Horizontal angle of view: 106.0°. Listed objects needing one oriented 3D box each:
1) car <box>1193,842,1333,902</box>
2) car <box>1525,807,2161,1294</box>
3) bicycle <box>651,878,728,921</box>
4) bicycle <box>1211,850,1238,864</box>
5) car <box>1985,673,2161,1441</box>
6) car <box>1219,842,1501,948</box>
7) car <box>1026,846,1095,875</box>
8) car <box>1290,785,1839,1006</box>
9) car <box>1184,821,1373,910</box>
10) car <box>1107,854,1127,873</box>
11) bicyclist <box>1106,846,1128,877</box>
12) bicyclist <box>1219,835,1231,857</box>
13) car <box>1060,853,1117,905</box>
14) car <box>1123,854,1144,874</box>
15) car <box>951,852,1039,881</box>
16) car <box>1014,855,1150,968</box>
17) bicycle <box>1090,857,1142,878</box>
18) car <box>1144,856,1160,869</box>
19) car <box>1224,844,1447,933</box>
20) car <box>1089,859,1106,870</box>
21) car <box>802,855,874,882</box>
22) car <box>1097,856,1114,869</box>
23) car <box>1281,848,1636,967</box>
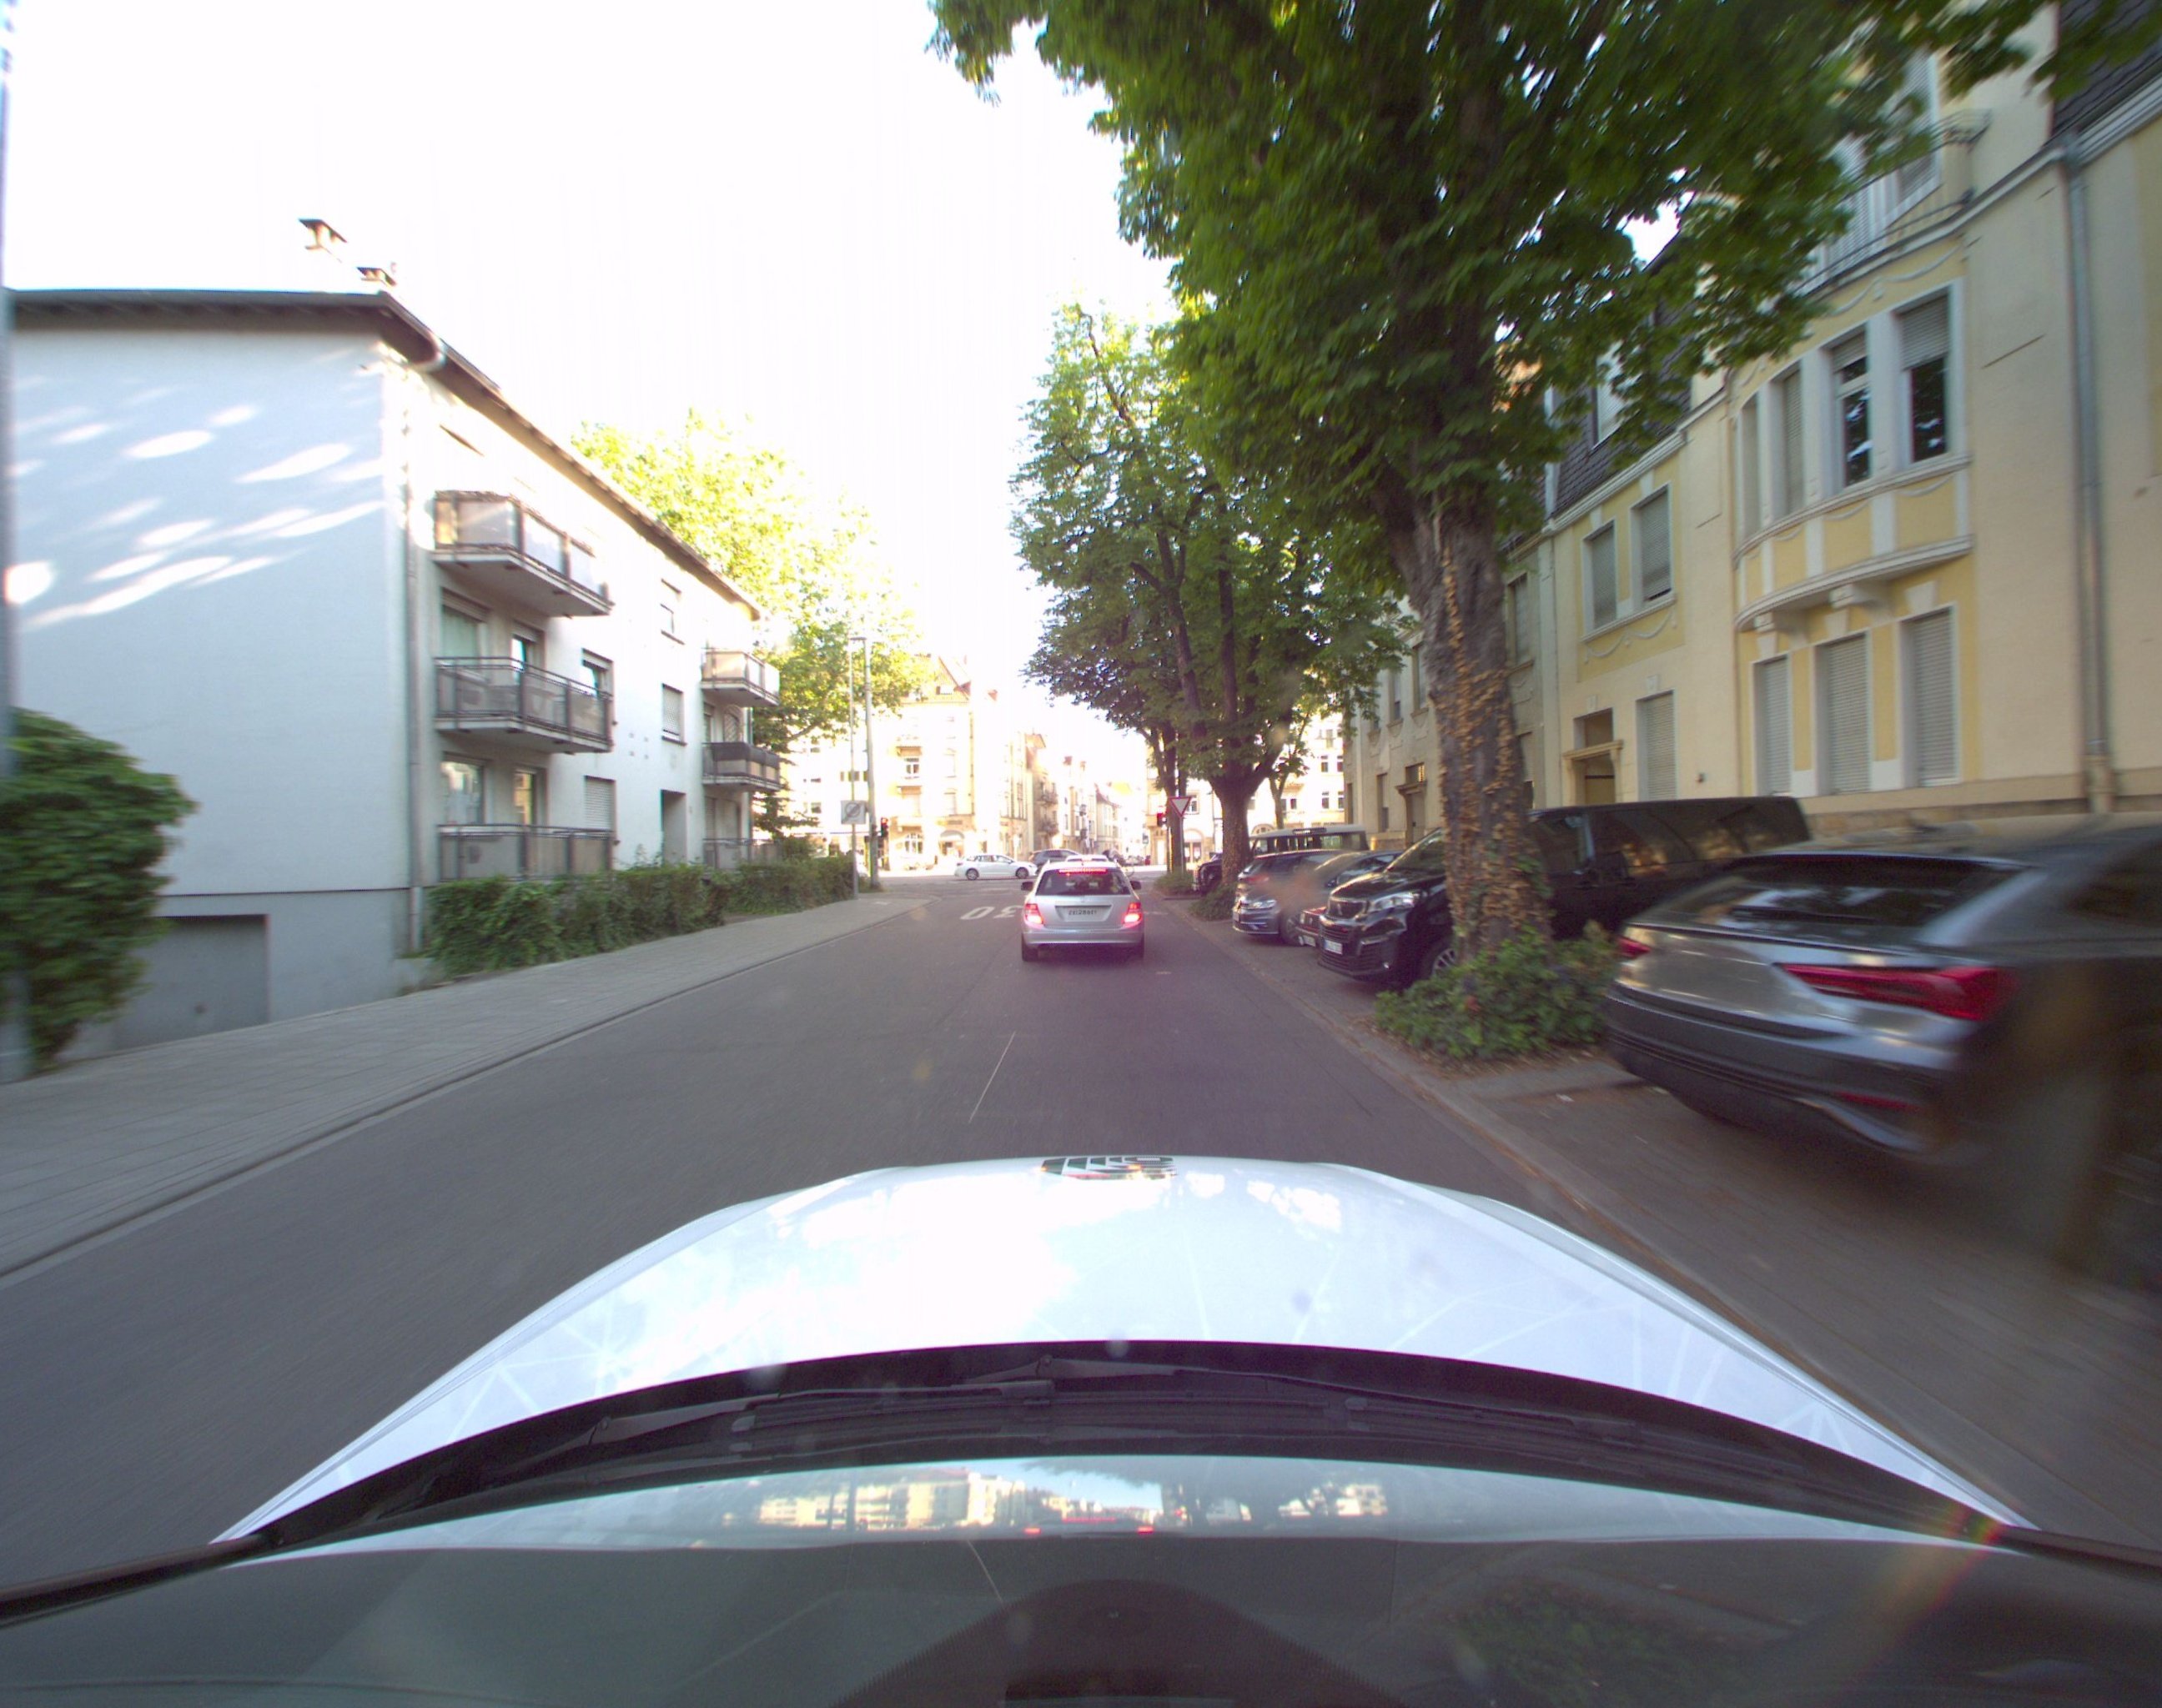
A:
[{"bbox_3d":[5.361,0.515,24.233,3.714,1.570,1.707,-3,0,-2],"label":"car"},{"bbox_3d":[4.759,0.557,3.696,4.499,1.523,1.843,-3,0,-4],"label":"car"},{"bbox_3d":[-9.643,1.105,20.094,1.630,1.008,0.511,1,-1,-39],"label":"bicycle"},{"bbox_3d":[12.547,0.258,71.319,2.251,1.246,0.636,-1,0,-3],"label":"bicycle"},{"bbox_3d":[4.613,0.402,1.396,4.098,1.837,1.844,-3,0,-1],"label":"car"},{"bbox_3d":[4.503,0.640,13.528,4.043,1.452,1.721,-3,0,-2],"label":"car"},{"bbox_3d":[-1.243,0.391,48.206,3.961,1.582,1.736,-2,0,-7],"label":"car"},{"bbox_3d":[4.872,0.377,8.664,4.739,1.874,1.895,-3,0,-4],"label":"car"},{"bbox_3d":[5.083,0.288,21.302,4.454,2.036,1.699,-3,0,-2],"label":"car"},{"bbox_3d":[4.607,1.137,103.140,2.018,2.279,4.012,-1,1,10],"label":"car"},{"bbox_3d":[1.941,0.403,43.623,0.997,1.654,0.804,-1,0,-9],"label":"bicyclist"},{"bbox_3d":[12.621,-0.722,71.320,0.889,1.859,0.636,-1,0,-3],"label":"bicyclist"},{"bbox_3d":[0.217,0.708,25.294,1.614,1.446,4.344,-1,0,0],"label":"car"},{"bbox_3d":[6.325,1.172,97.055,2.018,2.279,4.012,-1,1,10],"label":"car"},{"bbox_3d":[-4.732,0.679,44.857,4.658,1.448,1.735,-2,0,-8],"label":"car"},{"bbox_3d":[0.012,0.757,13.011,1.771,1.452,4.547,-1,0,0],"label":"car"},{"bbox_3d":[1.881,0.710,43.603,2.682,1.040,0.804,-1,0,-10],"label":"bicycle"},{"bbox_3d":[9.828,1.142,113.026,1.824,1.744,4.012,-1,1,10],"label":"car"},{"bbox_3d":[4.804,0.634,15.729,3.714,1.452,1.707,-3,0,-2],"label":"car"},{"bbox_3d":[2.334,1.491,113.714,1.824,1.402,4.012,-1,1,10],"label":"car"},{"bbox_3d":[-13.913,0.811,46.753,3.683,1.449,1.512,-2,0,-7],"label":"car"},{"bbox_3d":[3.629,1.256,119.982,1.824,1.663,4.012,-1,1,10],"label":"car"},{"bbox_3d":[5.050,0.682,11.213,4.127,1.315,1.628,-3,0,-4],"label":"car"}]
